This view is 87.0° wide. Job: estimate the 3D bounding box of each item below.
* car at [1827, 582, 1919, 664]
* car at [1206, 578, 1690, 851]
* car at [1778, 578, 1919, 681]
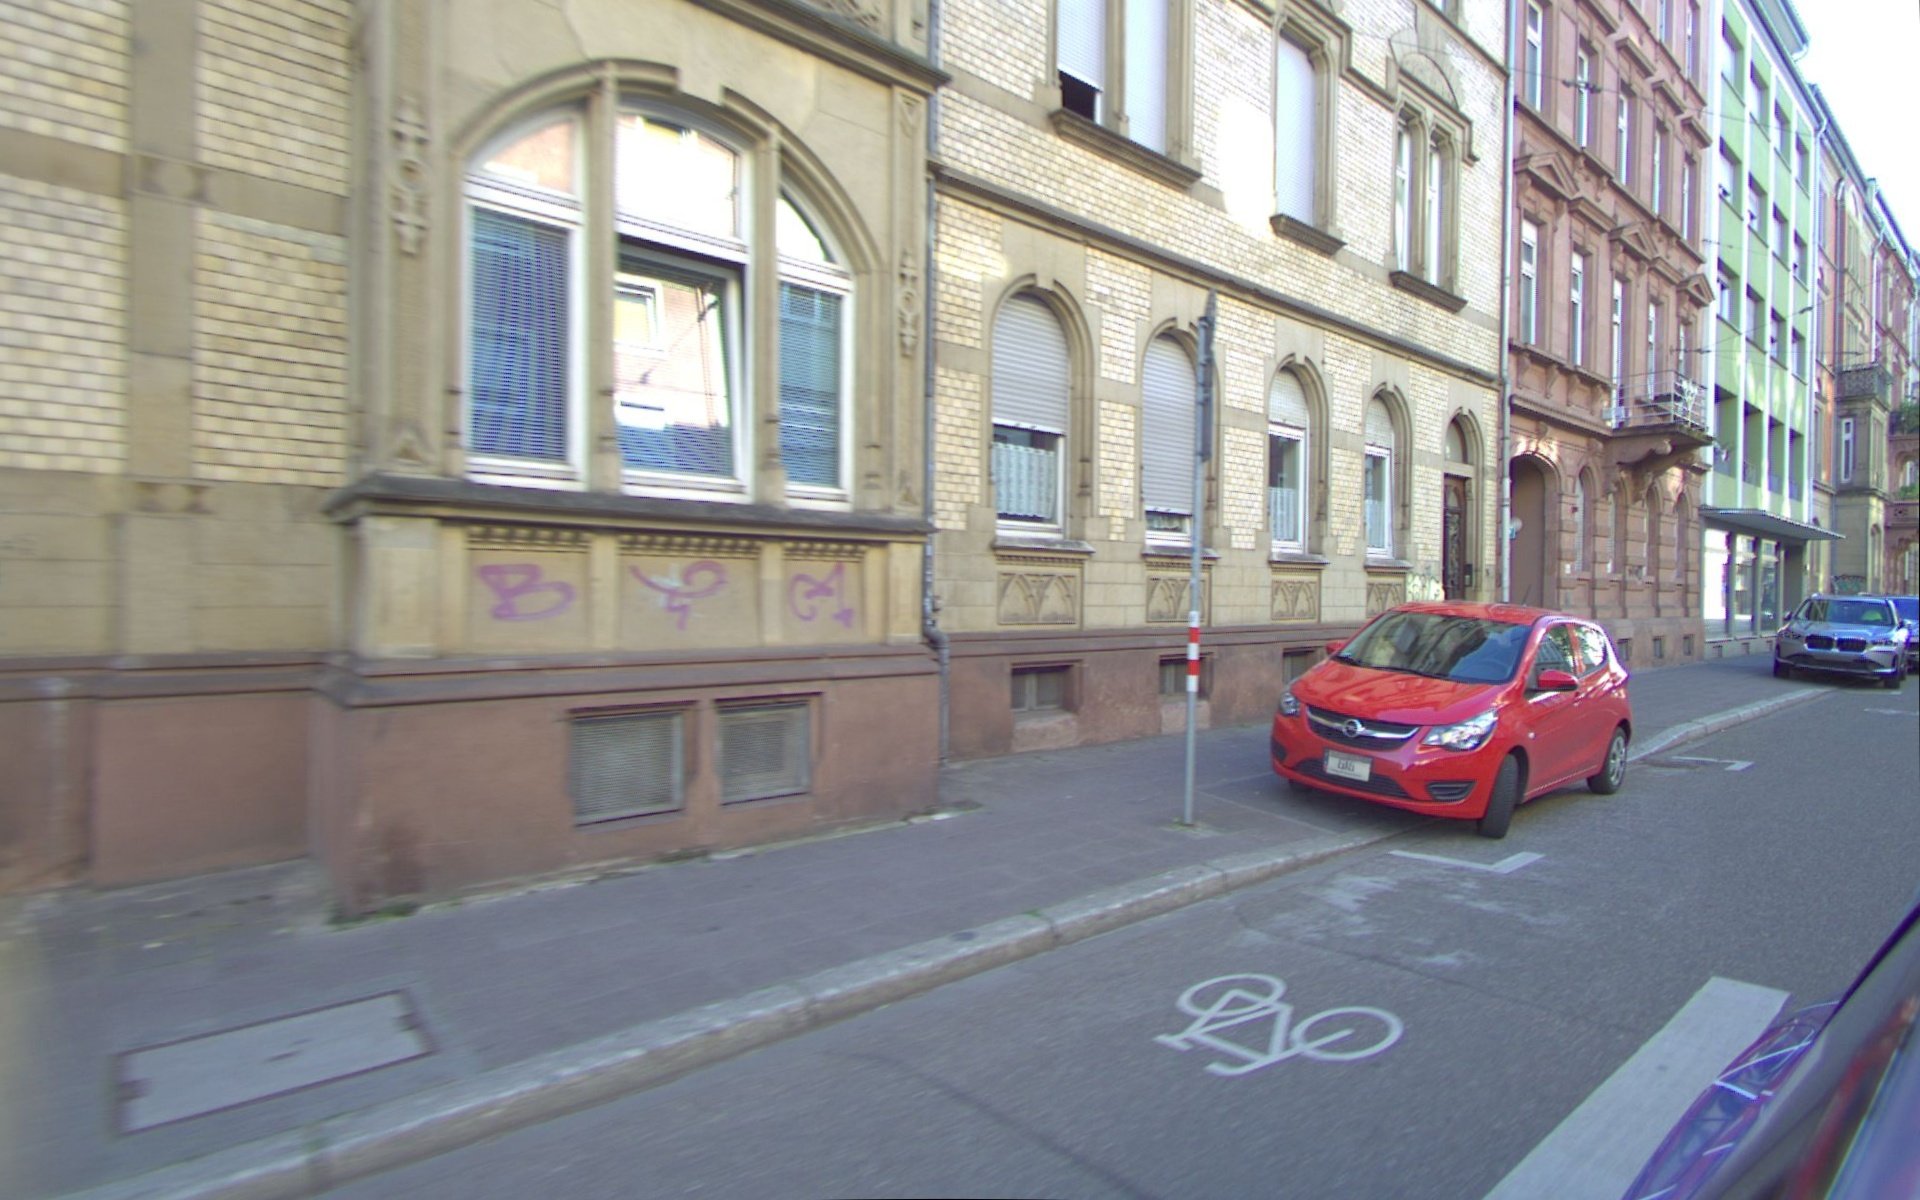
[{"bbox_3d":[21.639,0.465,23.170,4.703,1.635,1.998,-1,4,-41],"label":"car"},{"bbox_3d":[4.035,0.633,8.024,4.325,1.500,1.870,-1,4,-41],"label":"car"},{"bbox_3d":[17.372,0.473,19.579,1.868,1.666,4.330,6,5,45],"label":"car"}]
